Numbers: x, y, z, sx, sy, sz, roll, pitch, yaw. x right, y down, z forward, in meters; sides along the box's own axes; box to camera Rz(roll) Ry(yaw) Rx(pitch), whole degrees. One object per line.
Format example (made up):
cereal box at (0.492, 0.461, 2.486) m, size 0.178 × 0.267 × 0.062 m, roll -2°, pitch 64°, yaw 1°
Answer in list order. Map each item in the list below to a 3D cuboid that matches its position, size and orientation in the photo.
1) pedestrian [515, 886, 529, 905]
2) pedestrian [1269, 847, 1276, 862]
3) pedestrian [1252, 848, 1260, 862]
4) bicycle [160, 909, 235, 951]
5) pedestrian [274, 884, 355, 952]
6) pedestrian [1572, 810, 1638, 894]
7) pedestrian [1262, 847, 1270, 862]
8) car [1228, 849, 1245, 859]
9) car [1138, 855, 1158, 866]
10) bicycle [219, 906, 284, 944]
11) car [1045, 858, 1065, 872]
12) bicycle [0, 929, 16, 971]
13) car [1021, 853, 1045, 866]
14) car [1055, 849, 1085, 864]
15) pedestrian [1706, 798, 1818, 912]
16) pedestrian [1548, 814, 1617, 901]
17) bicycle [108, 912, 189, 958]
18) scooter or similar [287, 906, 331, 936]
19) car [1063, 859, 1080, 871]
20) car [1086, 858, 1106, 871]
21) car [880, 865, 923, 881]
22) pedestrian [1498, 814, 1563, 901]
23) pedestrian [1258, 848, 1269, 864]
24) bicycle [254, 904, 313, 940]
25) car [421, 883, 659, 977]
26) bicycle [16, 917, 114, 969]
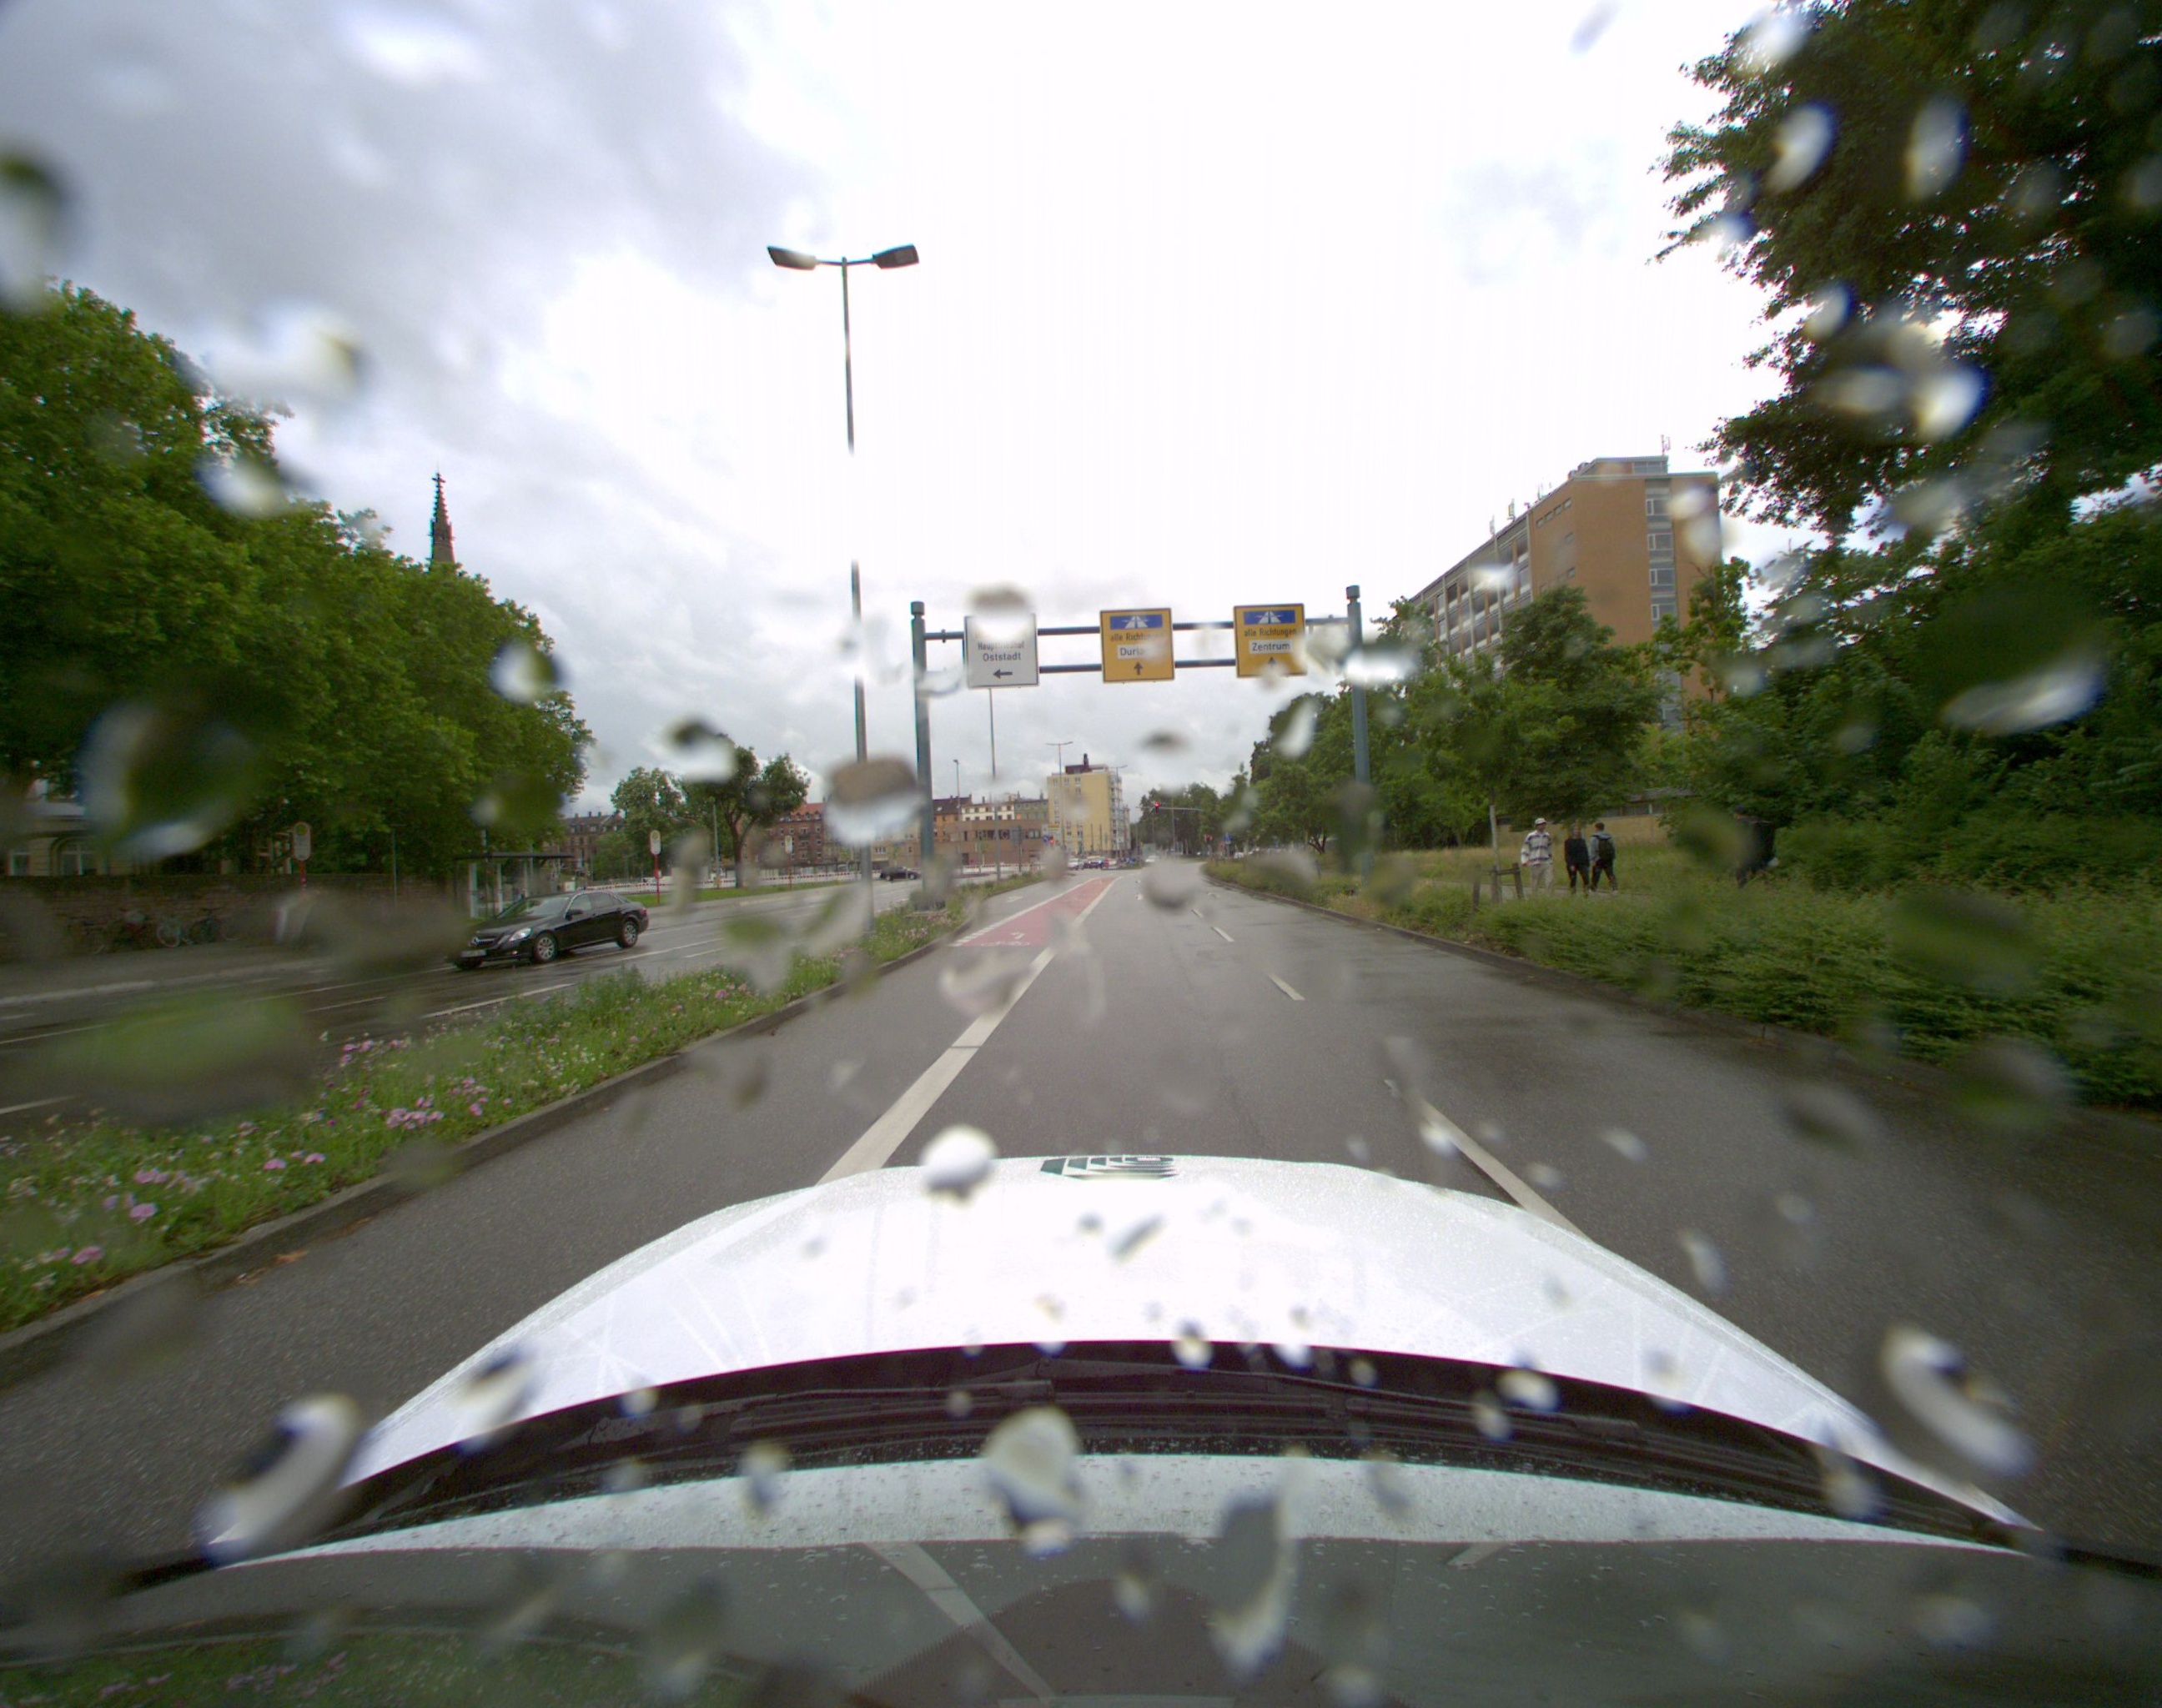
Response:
pedestrian at (-54.425, 4.073, 79.349) m, size 0.720 × 1.777 × 0.776 m, roll -3°, pitch 0°, yaw 5°
pedestrian at (21.133, 0.030, 89.811) m, size 0.697 × 1.588 × 0.940 m, roll -3°, pitch 0°, yaw 16°
pedestrian at (19.486, 0.112, 90.499) m, size 0.748 × 1.588 × 0.940 m, roll -3°, pitch 0°, yaw 16°
bicycle at (-28.074, 2.396, 25.926) m, size 0.573 × 1.136 × 1.982 m, roll -3°, pitch 0°, yaw -13°
pedestrian at (-20.915, 1.720, 22.256) m, size 0.866 × 1.695 × 1.398 m, roll -3°, pitch 0°, yaw -4°
pedestrian at (11.747, -0.038, 18.289) m, size 0.928 × 1.797 × 0.831 m, roll -3°, pitch 0°, yaw 8°
pedestrian at (20.433, 0.065, 90.034) m, size 0.697 × 1.588 × 0.940 m, roll -3°, pitch 0°, yaw 16°
car at (27.060, -0.050, 141.548) m, size 1.773 × 1.643 × 4.185 m, roll -3°, pitch 0°, yaw 27°
car at (10.758, 1.031, 130.433) m, size 1.663 × 1.501 × 3.891 m, roll -4°, pitch 0°, yaw 26°
bicycle at (-28.609, 2.424, 28.129) m, size 0.573 × 1.136 × 1.982 m, roll -3°, pitch 0°, yaw -13°
car at (-3.430, 1.468, 109.610) m, size 1.694 × 1.706 × 3.834 m, roll -3°, pitch 0°, yaw 13°
bicycle at (-25.833, 2.290, 18.653) m, size 0.731 × 0.983 × 1.696 m, roll -2°, pitch 0°, yaw -9°
car at (-11.853, 1.439, 200.885) m, size 5.320 × 2.887 × 2.344 m, roll -3°, pitch 0°, yaw 8°
car at (-2.658, 0.665, 199.372) m, size 6.703 × 3.380 × 2.816 m, roll -3°, pitch 0°, yaw 8°
pedestrian at (11.115, 0.022, 13.340) m, size 0.928 × 1.747 × 1.048 m, roll -3°, pitch 0°, yaw 8°
pedestrian at (10.187, 0.059, 16.583) m, size 0.928 × 1.703 × 0.830 m, roll -2°, pitch 2°, yaw 7°
bicycle at (-27.413, 2.361, 23.973) m, size 0.574 × 1.136 × 1.979 m, roll -3°, pitch 0°, yaw -17°
scooter or similar at (-29.761, 2.568, 31.420) m, size 0.573 × 1.046 × 1.356 m, roll -3°, pitch 0°, yaw -14°
car at (-1.173, 1.374, 102.315) m, size 1.671 × 1.404 × 4.162 m, roll -4°, pitch 0°, yaw 4°
car at (2.136, 1.418, 112.791) m, size 1.982 × 1.636 × 4.614 m, roll -5°, pitch 0°, yaw 9°
car at (-18.832, 2.017, 85.547) m, size 4.179 × 1.402 × 1.617 m, roll -3°, pitch 0°, yaw -1°
pedestrian at (9.236, 0.057, 16.761) m, size 0.928 × 1.720 × 0.830 m, roll -2°, pitch 2°, yaw 7°
pedestrian at (19.134, 0.202, 85.362) m, size 1.015 × 1.588 × 0.940 m, roll -3°, pitch 0°, yaw 16°
bicycle at (-29.379, 2.489, 30.029) m, size 0.573 × 1.136 × 1.982 m, roll -3°, pitch 0°, yaw -13°
car at (-11.907, 1.587, 18.421) m, size 1.800 × 1.540 × 4.710 m, roll -4°, pitch 0°, yaw 5°
bicycle at (-26.895, 2.333, 21.613) m, size 0.574 × 1.136 × 1.979 m, roll -3°, pitch 0°, yaw -17°
